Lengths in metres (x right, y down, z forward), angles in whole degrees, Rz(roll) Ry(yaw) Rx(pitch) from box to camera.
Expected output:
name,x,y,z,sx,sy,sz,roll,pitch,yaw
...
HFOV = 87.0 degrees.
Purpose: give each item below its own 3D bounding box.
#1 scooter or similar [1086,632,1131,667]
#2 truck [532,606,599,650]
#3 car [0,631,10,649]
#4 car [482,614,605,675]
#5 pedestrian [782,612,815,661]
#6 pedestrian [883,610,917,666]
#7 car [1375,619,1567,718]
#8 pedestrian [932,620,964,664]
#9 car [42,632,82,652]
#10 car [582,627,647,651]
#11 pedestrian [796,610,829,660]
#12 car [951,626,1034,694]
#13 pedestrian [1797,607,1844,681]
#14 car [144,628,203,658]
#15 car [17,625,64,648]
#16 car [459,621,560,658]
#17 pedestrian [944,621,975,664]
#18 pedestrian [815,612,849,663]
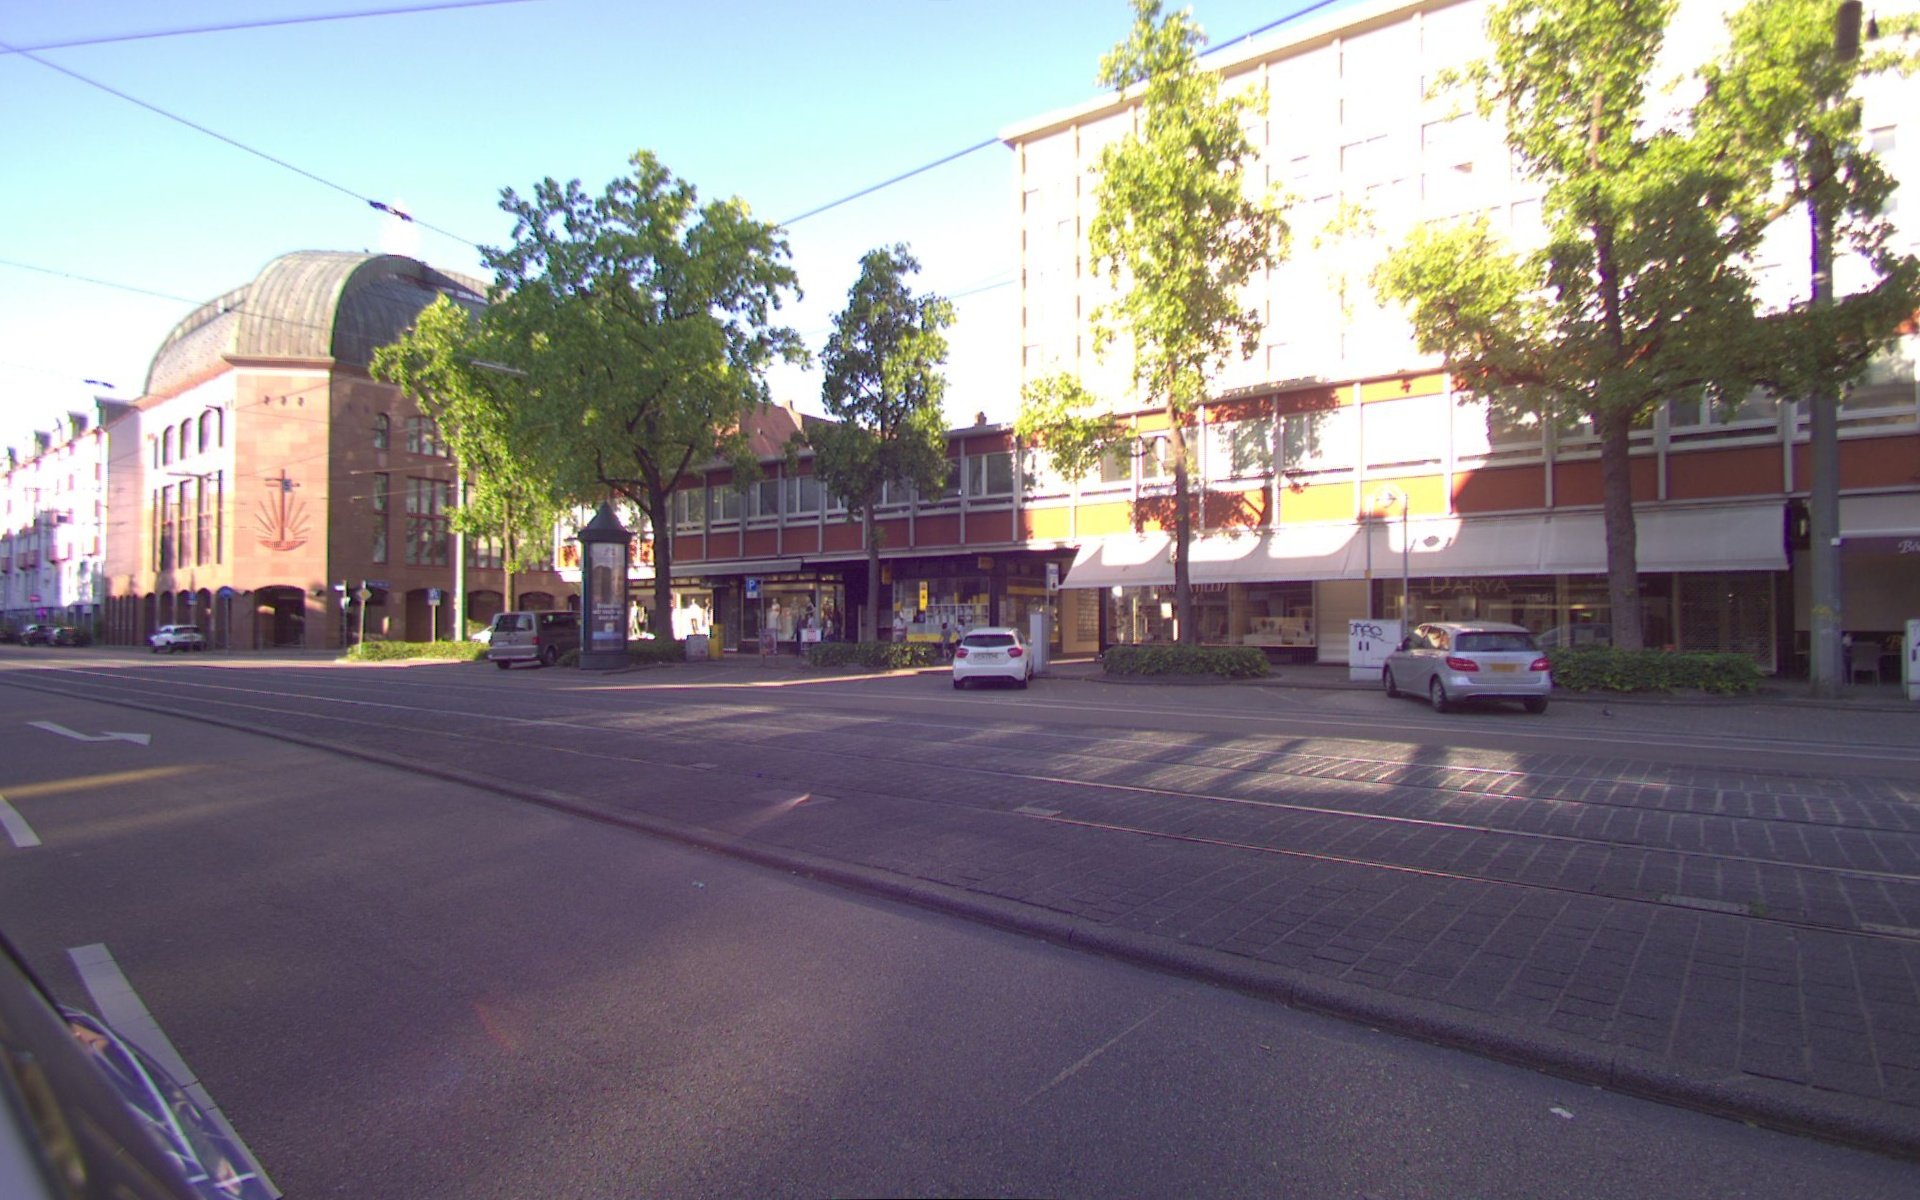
name,x,y,z,sx,sy,sz,roll,pitch,yaw
scooter or similar,4.747,1.566,32.391,1.335,1.102,0.470,-1,-1,36
truck,-25.743,1.833,65.953,4.519,2.784,1.835,-1,-2,34
car,-86.739,3.571,90.566,4.555,1.520,1.807,-1,-1,38
car,-14.695,1.503,36.057,1.831,1.943,5.112,0,0,6
pedestrian,-6.340,1.432,39.729,0.898,1.892,0.908,-1,-2,36
pedestrian,-2.040,1.284,34.498,0.903,1.892,0.903,1,-2,-24
car,9.304,1.170,18.846,1.805,1.578,4.271,0,0,7
pedestrian,-0.419,1.467,35.200,0.898,1.509,0.681,-1,-2,36
car,-66.369,3.080,74.793,3.679,1.411,1.626,-1,-1,39
car,-23.542,2.612,68.897,4.519,1.585,1.835,-1,-2,34
pedestrian,-5.935,1.398,40.785,0.898,1.963,0.984,-1,-2,36
car,0.887,1.436,25.393,1.745,1.440,4.261,-1,0,6
pedestrian,18.778,0.951,22.093,0.705,1.575,0.864,-2,-2,38
car,-45.328,2.469,58.308,4.269,1.602,1.581,-1,0,36
car,-71.812,2.845,79.021,4.552,1.713,1.941,-1,-1,37
car,-26.054,2.259,58.702,2.128,1.982,4.934,2,0,36
pedestrian,-0.015,1.497,35.778,0.898,1.481,0.681,-1,-2,36
pedestrian,-4.787,1.403,37.868,0.898,1.892,0.908,-1,-2,36
